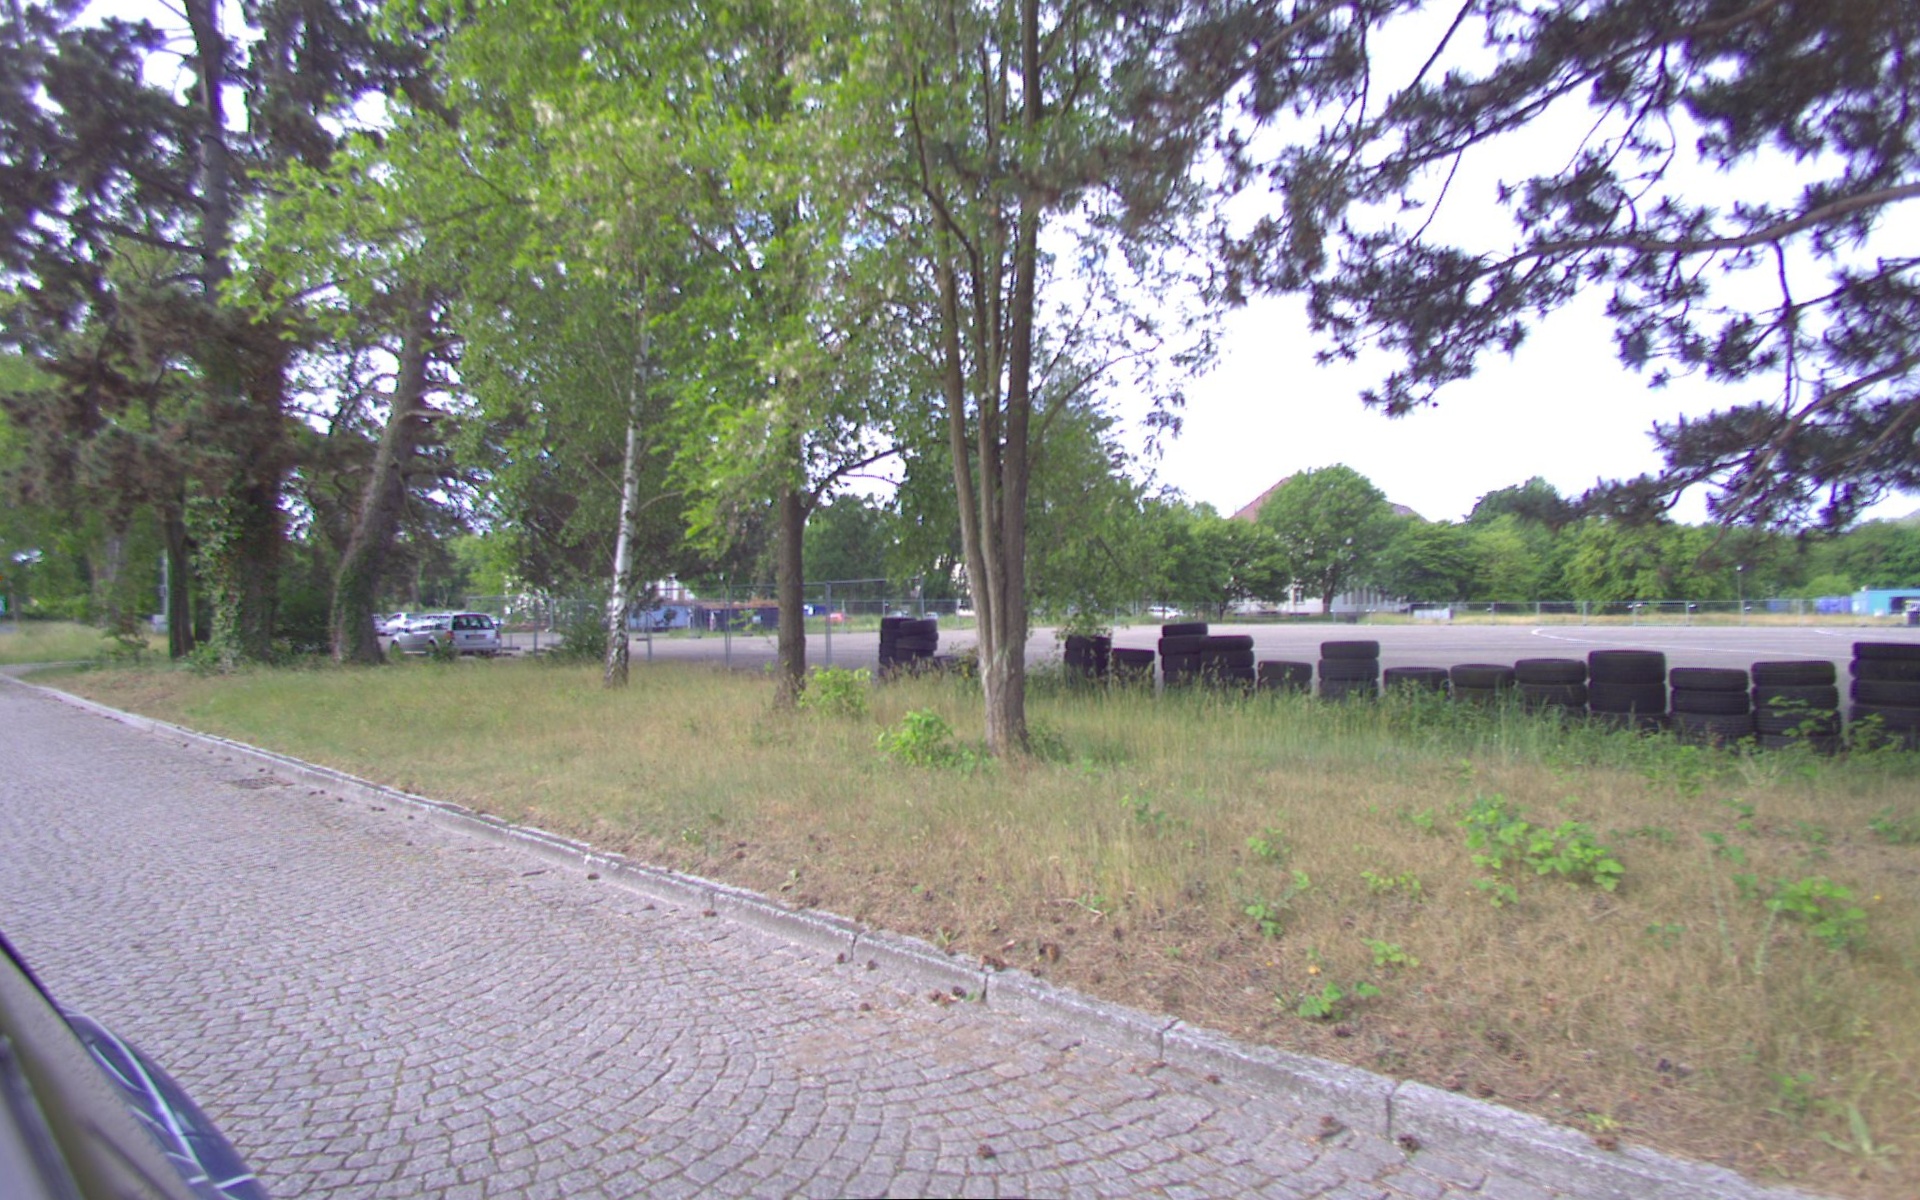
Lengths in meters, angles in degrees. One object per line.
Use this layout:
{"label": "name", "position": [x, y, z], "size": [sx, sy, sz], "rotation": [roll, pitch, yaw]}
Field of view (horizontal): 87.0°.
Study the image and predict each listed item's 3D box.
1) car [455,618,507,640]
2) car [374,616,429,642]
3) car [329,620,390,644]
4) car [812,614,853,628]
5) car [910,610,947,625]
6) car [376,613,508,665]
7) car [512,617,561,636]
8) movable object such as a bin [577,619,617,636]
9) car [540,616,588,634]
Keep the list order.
{"label": "car", "position": [-32.542, 1.946, 68.735], "size": [4.032, 1.410, 1.617], "rotation": [-1, -1, 38]}
{"label": "car", "position": [-35.349, 1.846, 64.052], "size": [3.894, 1.531, 1.653], "rotation": [-4, -2, 38]}
{"label": "car", "position": [-36.913, 1.955, 62.132], "size": [4.315, 1.436, 1.807], "rotation": [-1, -1, 38]}
{"label": "car", "position": [-13.508, 2.250, 107.390], "size": [4.400, 1.486, 1.806], "rotation": [-2, -1, 41]}
{"label": "car", "position": [-3.675, 2.072, 118.366], "size": [1.802, 1.736, 4.589], "rotation": [0, -1, -41]}
{"label": "car", "position": [-15.312, 1.164, 29.856], "size": [4.416, 1.427, 1.806], "rotation": [-2, -3, 39]}
{"label": "car", "position": [-34.489, 2.165, 82.438], "size": [4.397, 1.486, 1.807], "rotation": [-1, -1, 38]}
{"label": "movable object such as a bin", "position": [-21.884, 1.637, 61.047], "size": [1.953, 0.976, 1.431], "rotation": [-1, -1, 34]}
{"label": "car", "position": [-33.115, 2.079, 84.584], "size": [4.397, 1.486, 1.807], "rotation": [-1, -1, 38]}
